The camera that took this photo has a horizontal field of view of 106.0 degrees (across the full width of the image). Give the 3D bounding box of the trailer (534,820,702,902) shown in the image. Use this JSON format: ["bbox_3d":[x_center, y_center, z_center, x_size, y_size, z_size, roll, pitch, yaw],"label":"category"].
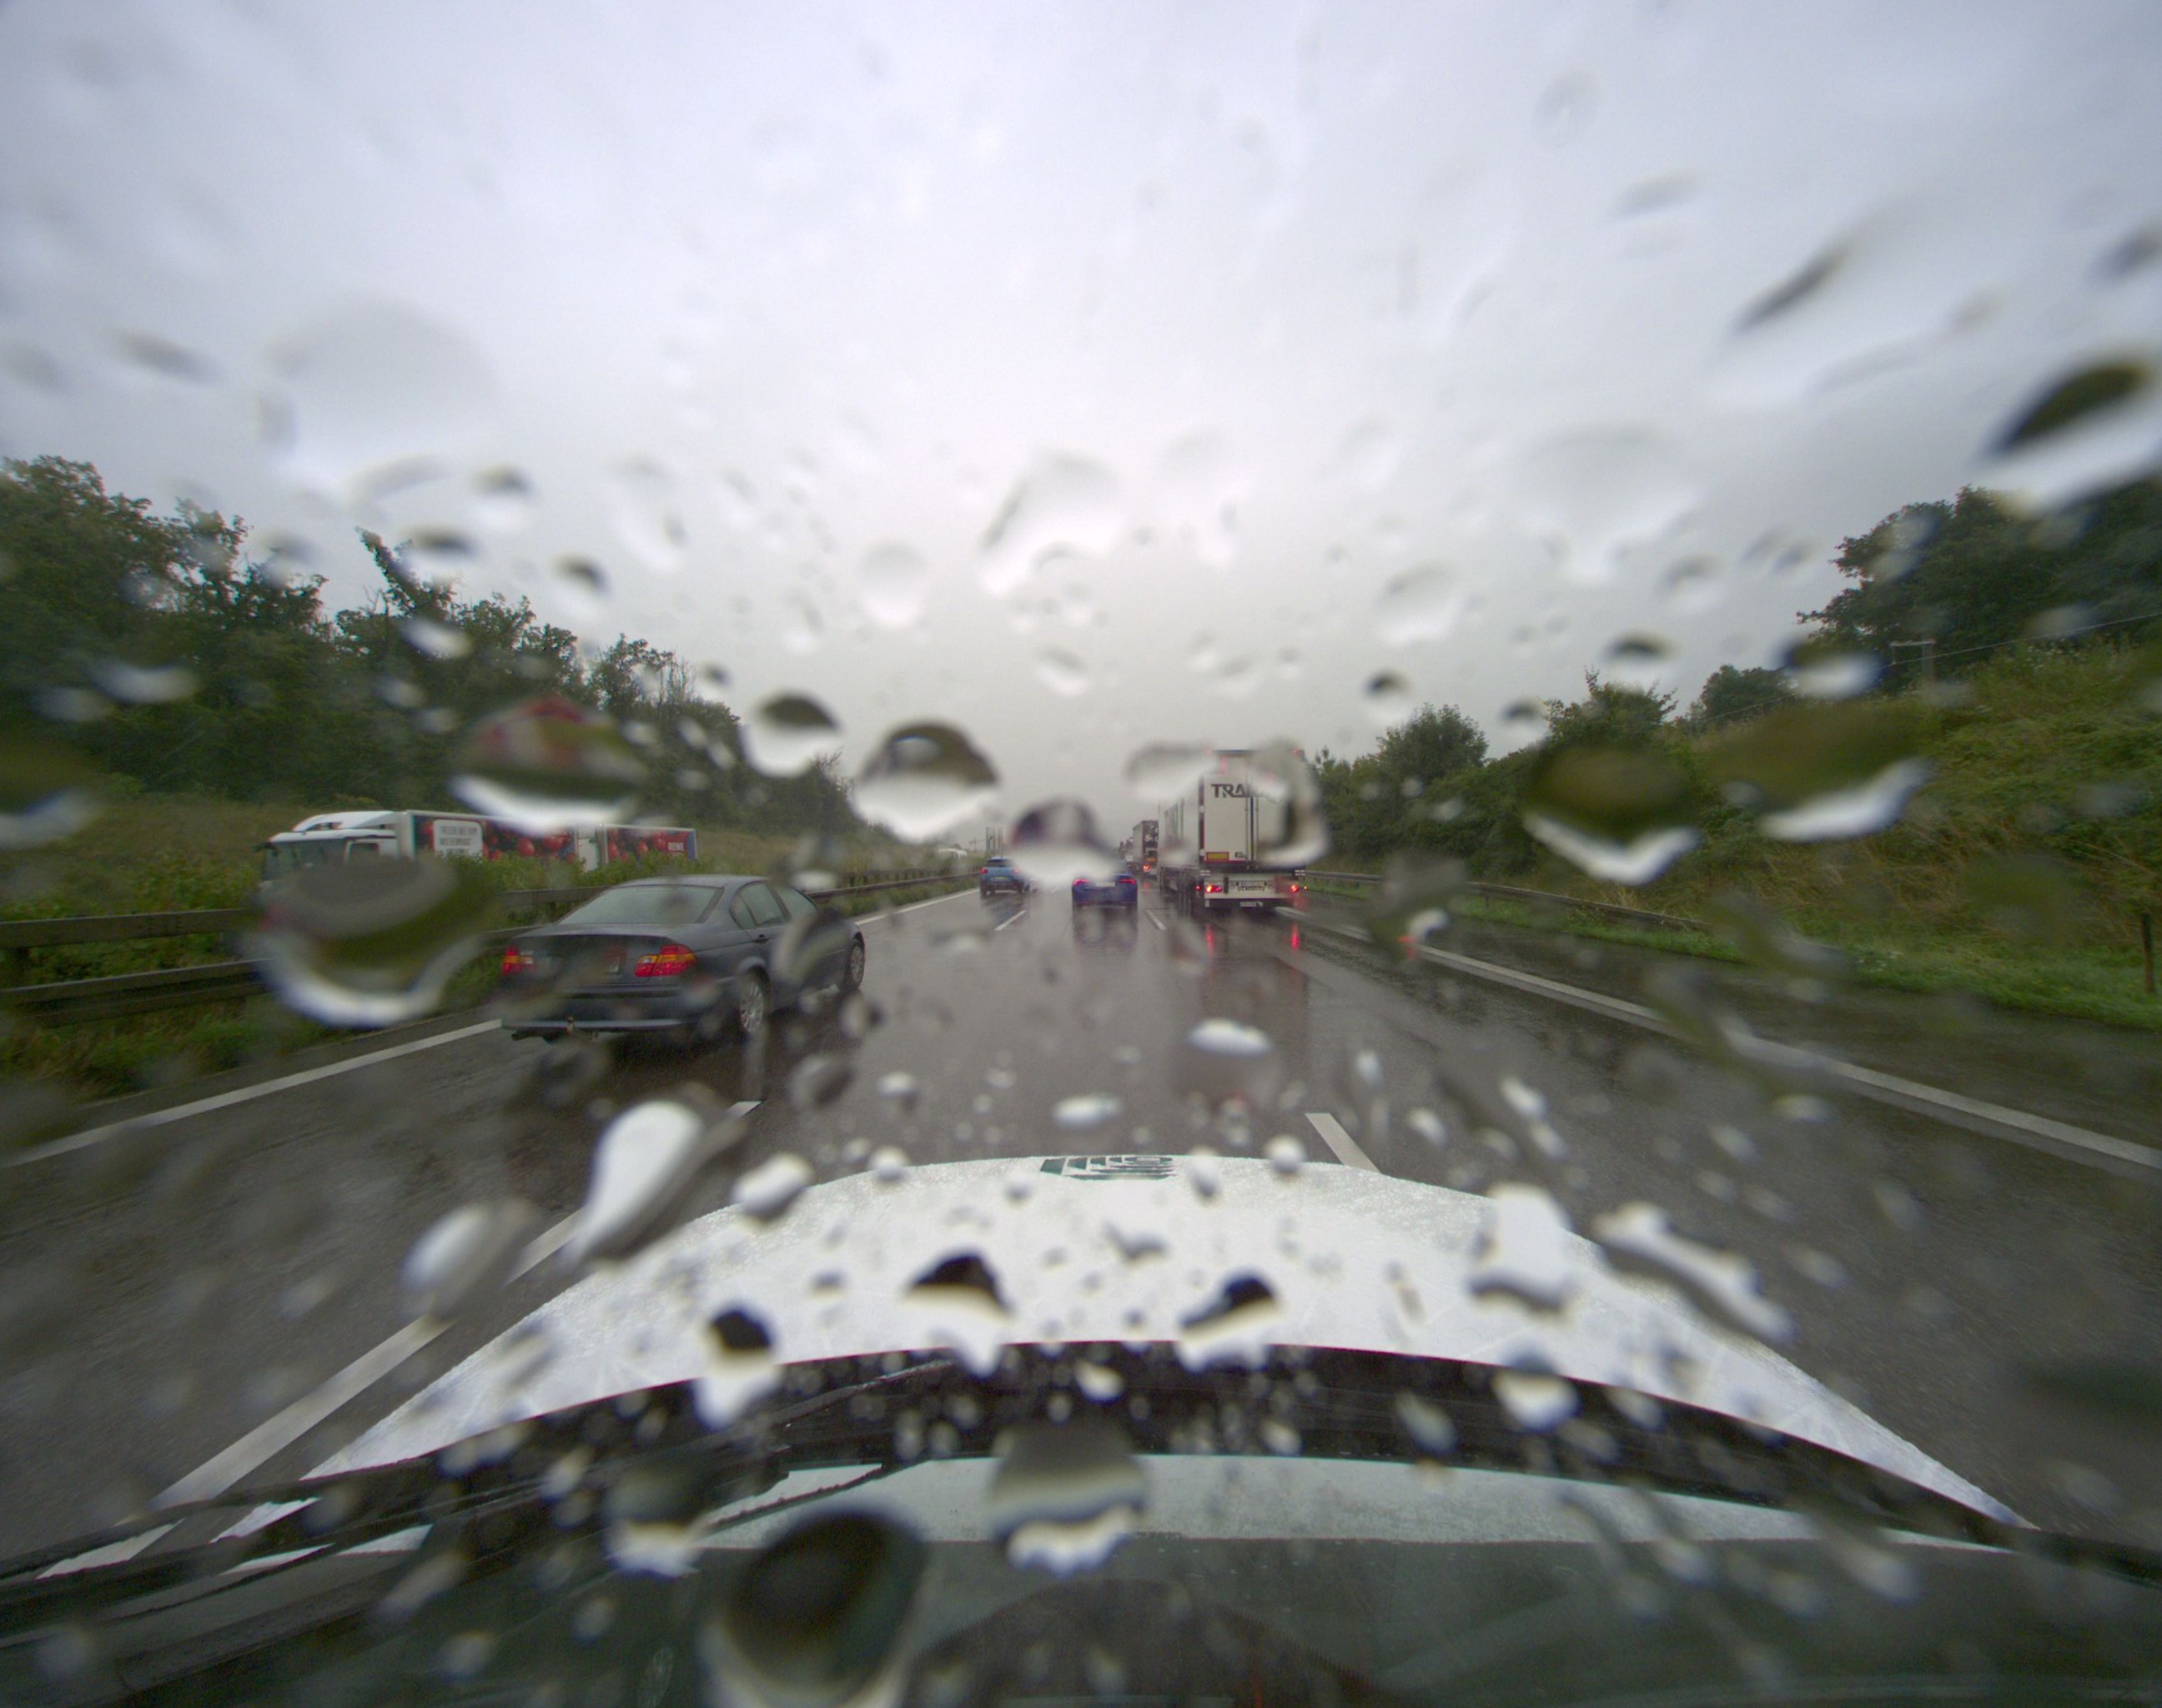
[{"bbox_3d":[-19.675,0.267,35.391,1.986,3.082,8.874,-1,0,1],"label":"trailer"}]

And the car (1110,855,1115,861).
[{"bbox_3d":[9.069,1.117,233.781,1.443,1.784,3.410,0,-1,1],"label":"car"}]

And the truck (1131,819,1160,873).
[{"bbox_3d":[5.164,-0.646,65.627,2.039,4.193,4.001,-1,0,1],"label":"truck"}]

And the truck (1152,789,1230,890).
[{"bbox_3d":[4.437,-0.546,33.623,2.621,3.827,4.792,-1,0,1],"label":"truck"}]

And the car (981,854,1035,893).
[{"bbox_3d":[-3.018,0.789,34.375,1.715,1.523,4.002,-1,0,2],"label":"car"}]

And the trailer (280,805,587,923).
[{"bbox_3d":[-19.900,0.259,26.142,1.986,3.082,9.557,-1,0,1],"label":"trailer"}]

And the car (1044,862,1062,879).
[{"bbox_3d":[-2.565,1.514,75.003,1.434,1.420,3.323,-1,0,1],"label":"car"}]

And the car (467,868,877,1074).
[{"bbox_3d":[-3.478,0.875,7.969,1.711,1.400,4.232,-1,0,2],"label":"car"}]

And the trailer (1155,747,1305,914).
[{"bbox_3d":[4.263,-0.582,27.032,2.621,4.013,14.634,-1,0,2],"label":"trailer"}]

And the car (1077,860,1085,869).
[{"bbox_3d":[0.013,2.012,162.046,1.443,1.784,3.410,0,-1,1],"label":"car"}]

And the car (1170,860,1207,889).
[{"bbox_3d":[5.153,0.974,39.463,1.418,1.288,3.461,-1,0,1],"label":"car"}]

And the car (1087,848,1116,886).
[{"bbox_3d":[0.999,0.598,39.606,1.332,1.780,3.323,-1,0,1],"label":"car"}]

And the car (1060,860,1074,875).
[{"bbox_3d":[-1.536,1.479,90.722,1.434,1.533,3.323,-1,0,1],"label":"car"}]

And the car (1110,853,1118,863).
[{"bbox_3d":[5.919,0.784,145.231,1.443,1.784,3.410,0,-1,1],"label":"car"}]

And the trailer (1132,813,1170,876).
[{"bbox_3d":[5.010,-0.630,59.813,2.039,4.176,11.451,-1,0,2],"label":"trailer"}]

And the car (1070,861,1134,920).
[{"bbox_3d":[0.615,0.941,22.734,1.629,1.445,4.002,-1,0,2],"label":"car"}]

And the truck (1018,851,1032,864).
[{"bbox_3d":[-12.054,0.725,176.241,2.472,2.719,4.530,-3,-2,2],"label":"truck"}]

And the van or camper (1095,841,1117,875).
[{"bbox_3d":[2.106,0.332,69.339,1.791,2.806,4.769,-1,0,1],"label":"van or camper"}]

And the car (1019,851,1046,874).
[{"bbox_3d":[-3.092,0.522,52.364,1.354,1.431,3.365,-1,0,2],"label":"car"}]

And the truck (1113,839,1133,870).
[{"bbox_3d":[4.975,0.022,96.652,1.987,3.421,8.032,-1,0,0],"label":"truck"}]

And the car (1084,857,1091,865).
[{"bbox_3d":[1.471,1.537,188.162,1.443,1.784,3.410,0,-1,1],"label":"car"}]

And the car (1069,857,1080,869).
[{"bbox_3d":[-0.996,1.352,122.793,1.443,1.784,3.410,0,-1,1],"label":"car"}]
